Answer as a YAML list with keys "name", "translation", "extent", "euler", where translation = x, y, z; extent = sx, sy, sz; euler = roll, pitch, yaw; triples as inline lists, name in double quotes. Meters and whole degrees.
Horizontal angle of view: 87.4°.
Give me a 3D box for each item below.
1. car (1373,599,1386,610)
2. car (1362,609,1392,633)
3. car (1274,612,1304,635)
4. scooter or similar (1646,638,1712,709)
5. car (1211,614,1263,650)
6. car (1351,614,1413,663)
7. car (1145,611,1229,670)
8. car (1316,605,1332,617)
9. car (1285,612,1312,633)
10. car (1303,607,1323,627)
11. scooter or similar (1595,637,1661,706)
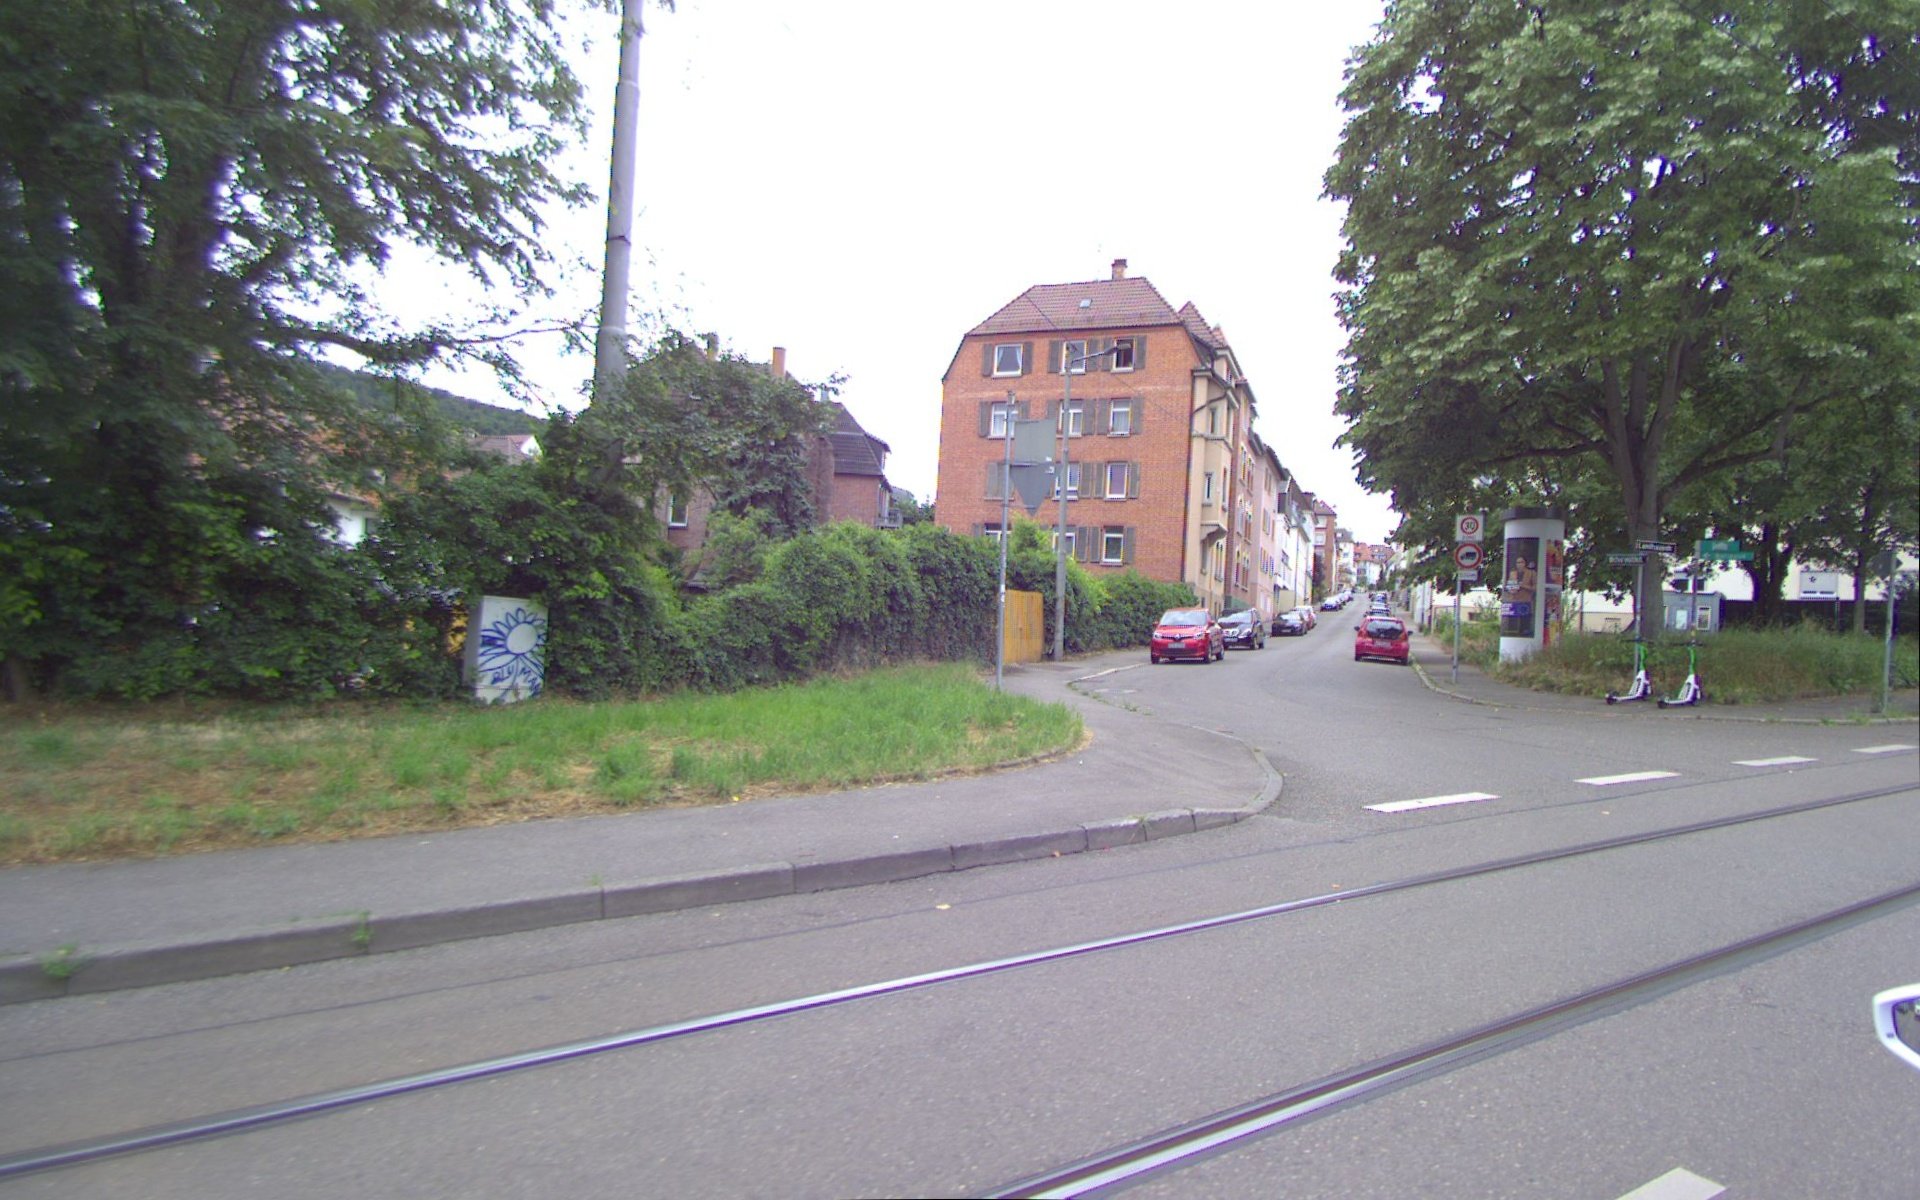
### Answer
- name: "car"
  translation: [57.285, 0.537, 137.094]
  extent: [1.644, 1.434, 3.729]
  euler: [2, 1, 23]
- name: "car"
  translation: [26.513, 1.310, 63.800]
  extent: [1.644, 1.434, 3.729]
  euler: [2, 1, 23]
- name: "car"
  translation: [19.626, 1.374, 59.835]
  extent: [1.429, 1.252, 3.419]
  euler: [2, 1, 23]
- name: "scooter or similar"
  translation: [12.899, 1.292, 18.008]
  extent: [1.697, 1.161, 0.310]
  euler: [-1, 1, -31]
- name: "car"
  translation: [10.750, 1.199, 38.806]
  extent: [1.429, 1.252, 3.779]
  euler: [2, 1, 23]
- name: "car"
  translation: [13.964, 1.225, 33.157]
  extent: [1.622, 1.434, 3.726]
  euler: [2, 1, 26]
- name: "car"
  translation: [6.533, 1.098, 28.696]
  extent: [1.716, 1.497, 3.612]
  euler: [2, 1, 23]
- name: "car"
  translation: [39.014, 1.176, 107.702]
  extent: [1.429, 1.252, 3.419]
  euler: [2, 1, 23]
- name: "car"
  translation: [22.598, 1.475, 67.040]
  extent: [1.429, 1.252, 3.779]
  euler: [2, 1, 23]
- name: "car"
  translation: [30.359, 1.476, 86.374]
  extent: [1.429, 1.498, 3.780]
  euler: [2, -2, 22]
- name: "scooter or similar"
  translation: [12.342, 1.296, 18.542]
  extent: [1.697, 1.161, 0.310]
  euler: [-1, 1, -31]
